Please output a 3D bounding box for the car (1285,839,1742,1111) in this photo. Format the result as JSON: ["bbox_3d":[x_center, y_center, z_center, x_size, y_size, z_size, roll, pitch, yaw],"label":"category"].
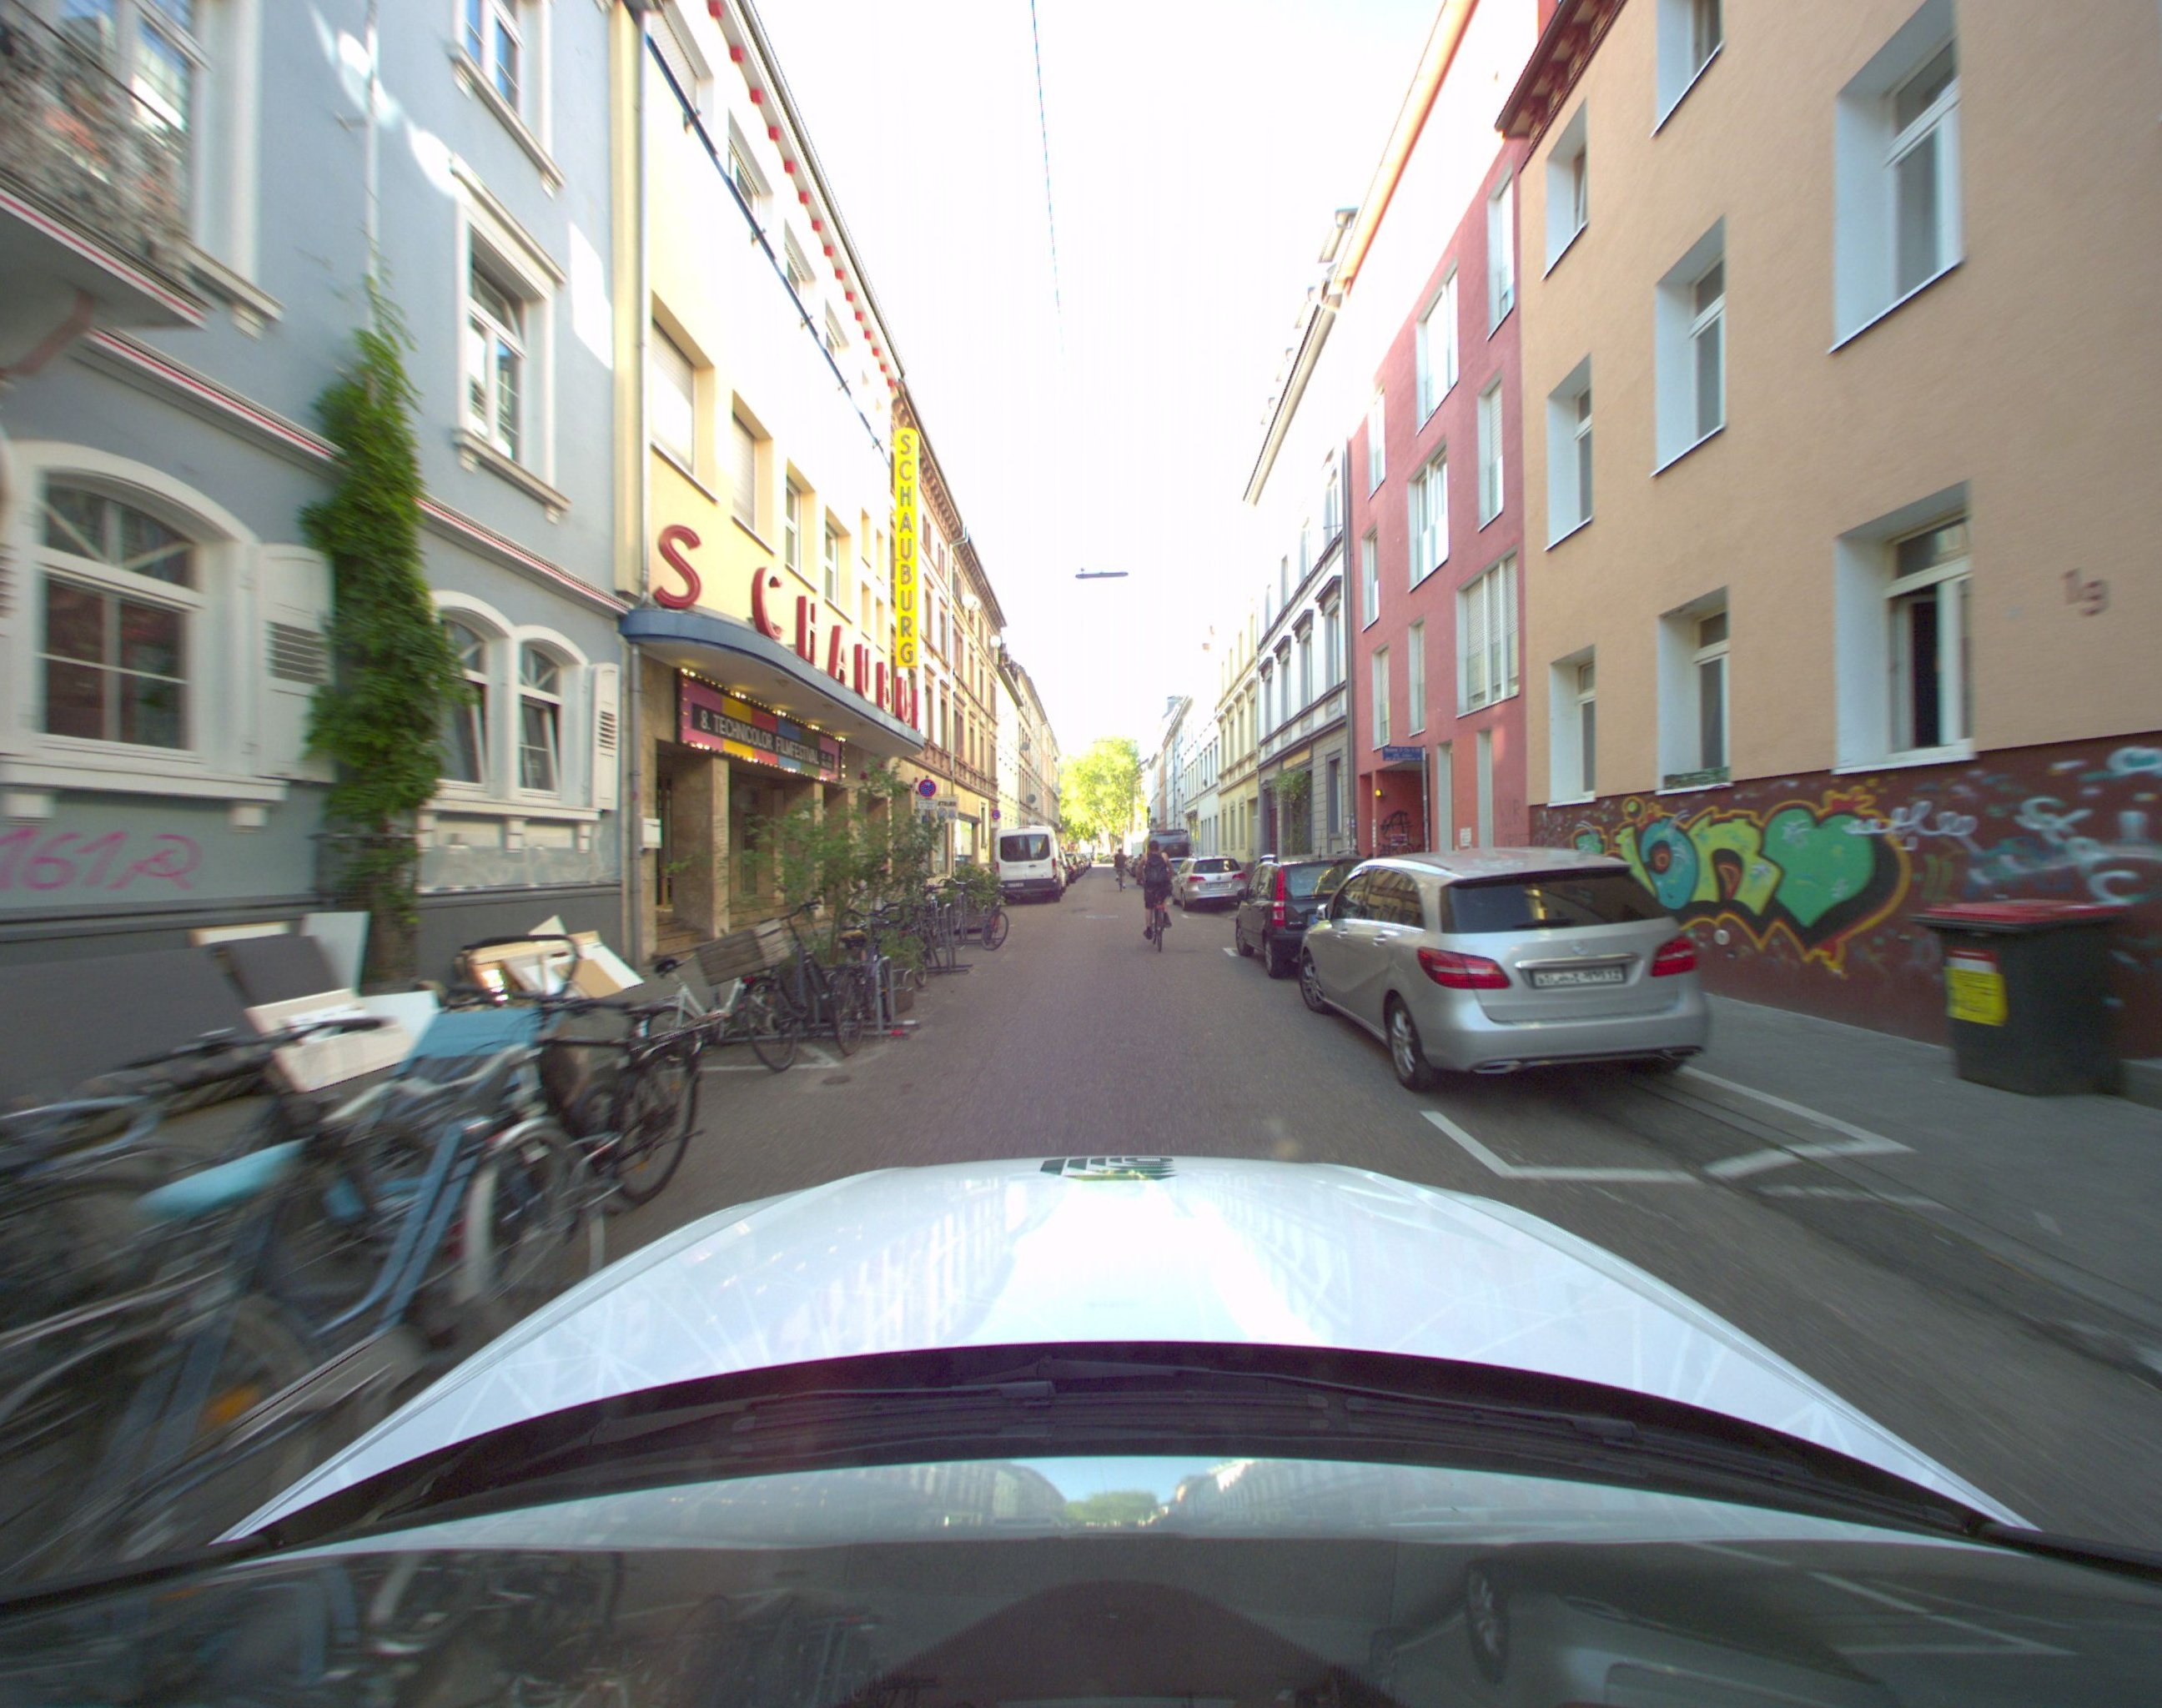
[{"bbox_3d":[3.016,0.698,6.792,1.739,1.556,4.174,-1,0,3],"label":"car"}]

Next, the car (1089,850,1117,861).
[{"bbox_3d":[3.629,0.267,136.069,4.459,1.759,1.864,-1,0,-3],"label":"car"}]

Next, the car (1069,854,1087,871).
[{"bbox_3d":[-0.306,0.790,77.075,1.600,1.530,3.378,-2,0,0],"label":"car"}]

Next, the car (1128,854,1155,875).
[{"bbox_3d":[4.429,0.738,59.956,1.719,1.429,3.832,-1,0,0],"label":"car"}]

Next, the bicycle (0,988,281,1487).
[{"bbox_3d":[-2.860,0.992,1.736,0.442,1.105,1.874,0,0,0],"label":"bicycle"}]

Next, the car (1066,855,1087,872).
[{"bbox_3d":[-0.394,0.844,72.114,1.700,1.414,4.303,-1,0,2],"label":"car"}]

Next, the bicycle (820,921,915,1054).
[{"bbox_3d":[-1.806,1.097,7.039,0.388,0.916,1.393,-1,0,2],"label":"bicycle"}]

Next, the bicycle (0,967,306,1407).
[{"bbox_3d":[-3.240,0.991,2.300,0.442,1.105,1.698,0,0,1],"label":"bicycle"}]

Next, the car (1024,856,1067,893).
[{"bbox_3d":[-1.453,0.824,34.790,1.640,1.447,3.839,-1,0,0],"label":"car"}]

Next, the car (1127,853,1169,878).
[{"bbox_3d":[4.478,0.718,54.901,1.810,1.478,4.596,-4,1,-8],"label":"car"}]

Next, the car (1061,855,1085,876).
[{"bbox_3d":[-0.608,0.852,62.077,1.585,1.440,3.656,-1,0,2],"label":"car"}]

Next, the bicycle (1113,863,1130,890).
[{"bbox_3d":[1.673,0.918,33.897,0.661,1.037,1.959,-1,0,2],"label":"bicycle"}]

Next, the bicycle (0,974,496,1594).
[{"bbox_3d":[-2.498,1.015,2.170,0.442,1.105,1.932,0,0,1],"label":"bicycle"}]

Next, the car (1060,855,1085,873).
[{"bbox_3d":[-0.660,0.803,67.057,1.666,1.430,3.892,-1,0,4],"label":"car"}]

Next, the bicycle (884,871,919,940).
[{"bbox_3d":[-3.254,0.907,14.845,0.338,1.174,1.489,1,0,-2],"label":"bicycle"}]

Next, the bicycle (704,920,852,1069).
[{"bbox_3d":[-2.422,1.083,6.699,0.551,0.944,1.572,-1,0,2],"label":"bicycle"}]

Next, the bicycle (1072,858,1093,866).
[{"bbox_3d":[0.159,1.023,106.124,2.708,0.892,0.618,-1,0,-2],"label":"bicycle"}]

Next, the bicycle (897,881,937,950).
[{"bbox_3d":[-2.726,0.994,13.617,0.416,1.047,1.317,1,0,-2],"label":"bicycle"}]

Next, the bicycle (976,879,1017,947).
[{"bbox_3d":[-1.490,0.991,14.198,0.461,1.047,1.741,1,0,-14],"label":"bicycle"}]

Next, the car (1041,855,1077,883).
[{"bbox_3d":[-1.194,0.797,46.080,1.856,1.440,4.644,-1,1,0],"label":"car"}]

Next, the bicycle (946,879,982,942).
[{"bbox_3d":[-2.173,1.027,15.274,0.441,1.047,1.863,1,0,-2],"label":"bicycle"}]

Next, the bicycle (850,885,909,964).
[{"bbox_3d":[-2.952,1.002,12.035,0.572,1.045,1.408,0,0,-2],"label":"bicycle"}]

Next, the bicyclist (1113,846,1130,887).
[{"bbox_3d":[1.666,0.512,33.803,0.667,1.658,0.877,-1,0,1],"label":"bicyclist"}]

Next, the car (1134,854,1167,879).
[{"bbox_3d":[4.252,0.735,50.119,1.740,1.485,4.244,-1,0,1],"label":"car"}]

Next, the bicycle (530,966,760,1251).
[{"bbox_3d":[-1.942,1.074,3.794,0.320,0.916,1.291,-1,0,2],"label":"bicycle"}]

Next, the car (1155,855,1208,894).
[{"bbox_3d":[3.954,0.779,32.562,1.741,1.444,4.173,0,0,2],"label":"car"}]

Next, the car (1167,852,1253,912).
[{"bbox_3d":[3.631,0.737,23.666,1.780,1.454,4.548,-4,0,1],"label":"car"}]

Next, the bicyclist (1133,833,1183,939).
[{"bbox_3d":[1.264,0.509,13.516,0.737,1.679,1.117,1,0,1],"label":"bicyclist"}]

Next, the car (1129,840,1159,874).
[{"bbox_3d":[5.027,0.190,65.393,2.195,2.551,6.042,-1,0,4],"label":"car"}]

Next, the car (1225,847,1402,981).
[{"bbox_3d":[3.127,0.733,11.608,1.595,1.539,3.452,-3,0,3],"label":"car"}]

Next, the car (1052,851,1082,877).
[{"bbox_3d":[-0.949,0.692,57.103,1.794,1.698,4.002,-3,0,2],"label":"car"}]

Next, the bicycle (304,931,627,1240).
[{"bbox_3d":[-2.792,0.995,3.817,0.810,1.175,0.920,0,0,-1],"label":"bicycle"}]

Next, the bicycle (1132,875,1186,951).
[{"bbox_3d":[1.262,0.930,13.520,0.737,1.100,2.042,1,0,1],"label":"bicycle"}]

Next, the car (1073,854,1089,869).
[{"bbox_3d":[-0.015,0.770,84.449,1.540,1.550,3.463,-1,0,-1],"label":"car"}]

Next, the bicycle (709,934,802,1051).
[{"bbox_3d":[-2.862,1.189,7.258,0.255,0.817,1.300,0,0,2],"label":"bicycle"}]

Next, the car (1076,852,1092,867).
[{"bbox_3d":[0.353,0.632,96.651,1.781,1.737,3.877,-1,0,1],"label":"car"}]

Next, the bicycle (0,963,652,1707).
[{"bbox_3d":[-1.912,0.971,2.196,0.497,1.105,1.830,0,0,1],"label":"bicycle"}]

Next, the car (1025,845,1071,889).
[{"bbox_3d":[-1.525,0.584,39.390,1.820,1.892,4.615,-3,0,2],"label":"car"}]

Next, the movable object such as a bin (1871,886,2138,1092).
[{"bbox_3d":[5.395,0.754,4.813,0.690,1.058,0.737,-3,0,2],"label":"movable object such as a bin"}]

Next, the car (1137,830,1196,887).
[{"bbox_3d":[3.966,0.206,38.875,2.167,2.425,6.311,-2,0,1],"label":"car"}]

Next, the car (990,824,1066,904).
[{"bbox_3d":[-1.728,0.306,28.740,2.161,2.452,5.921,-2,0,0],"label":"car"}]

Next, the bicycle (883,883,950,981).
[{"bbox_3d":[-2.112,0.971,10.676,0.545,1.094,1.880,1,0,-2],"label":"bicycle"}]

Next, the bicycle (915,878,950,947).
[{"bbox_3d":[-2.758,1.056,15.255,0.398,1.174,1.668,1,0,-2],"label":"bicycle"}]
